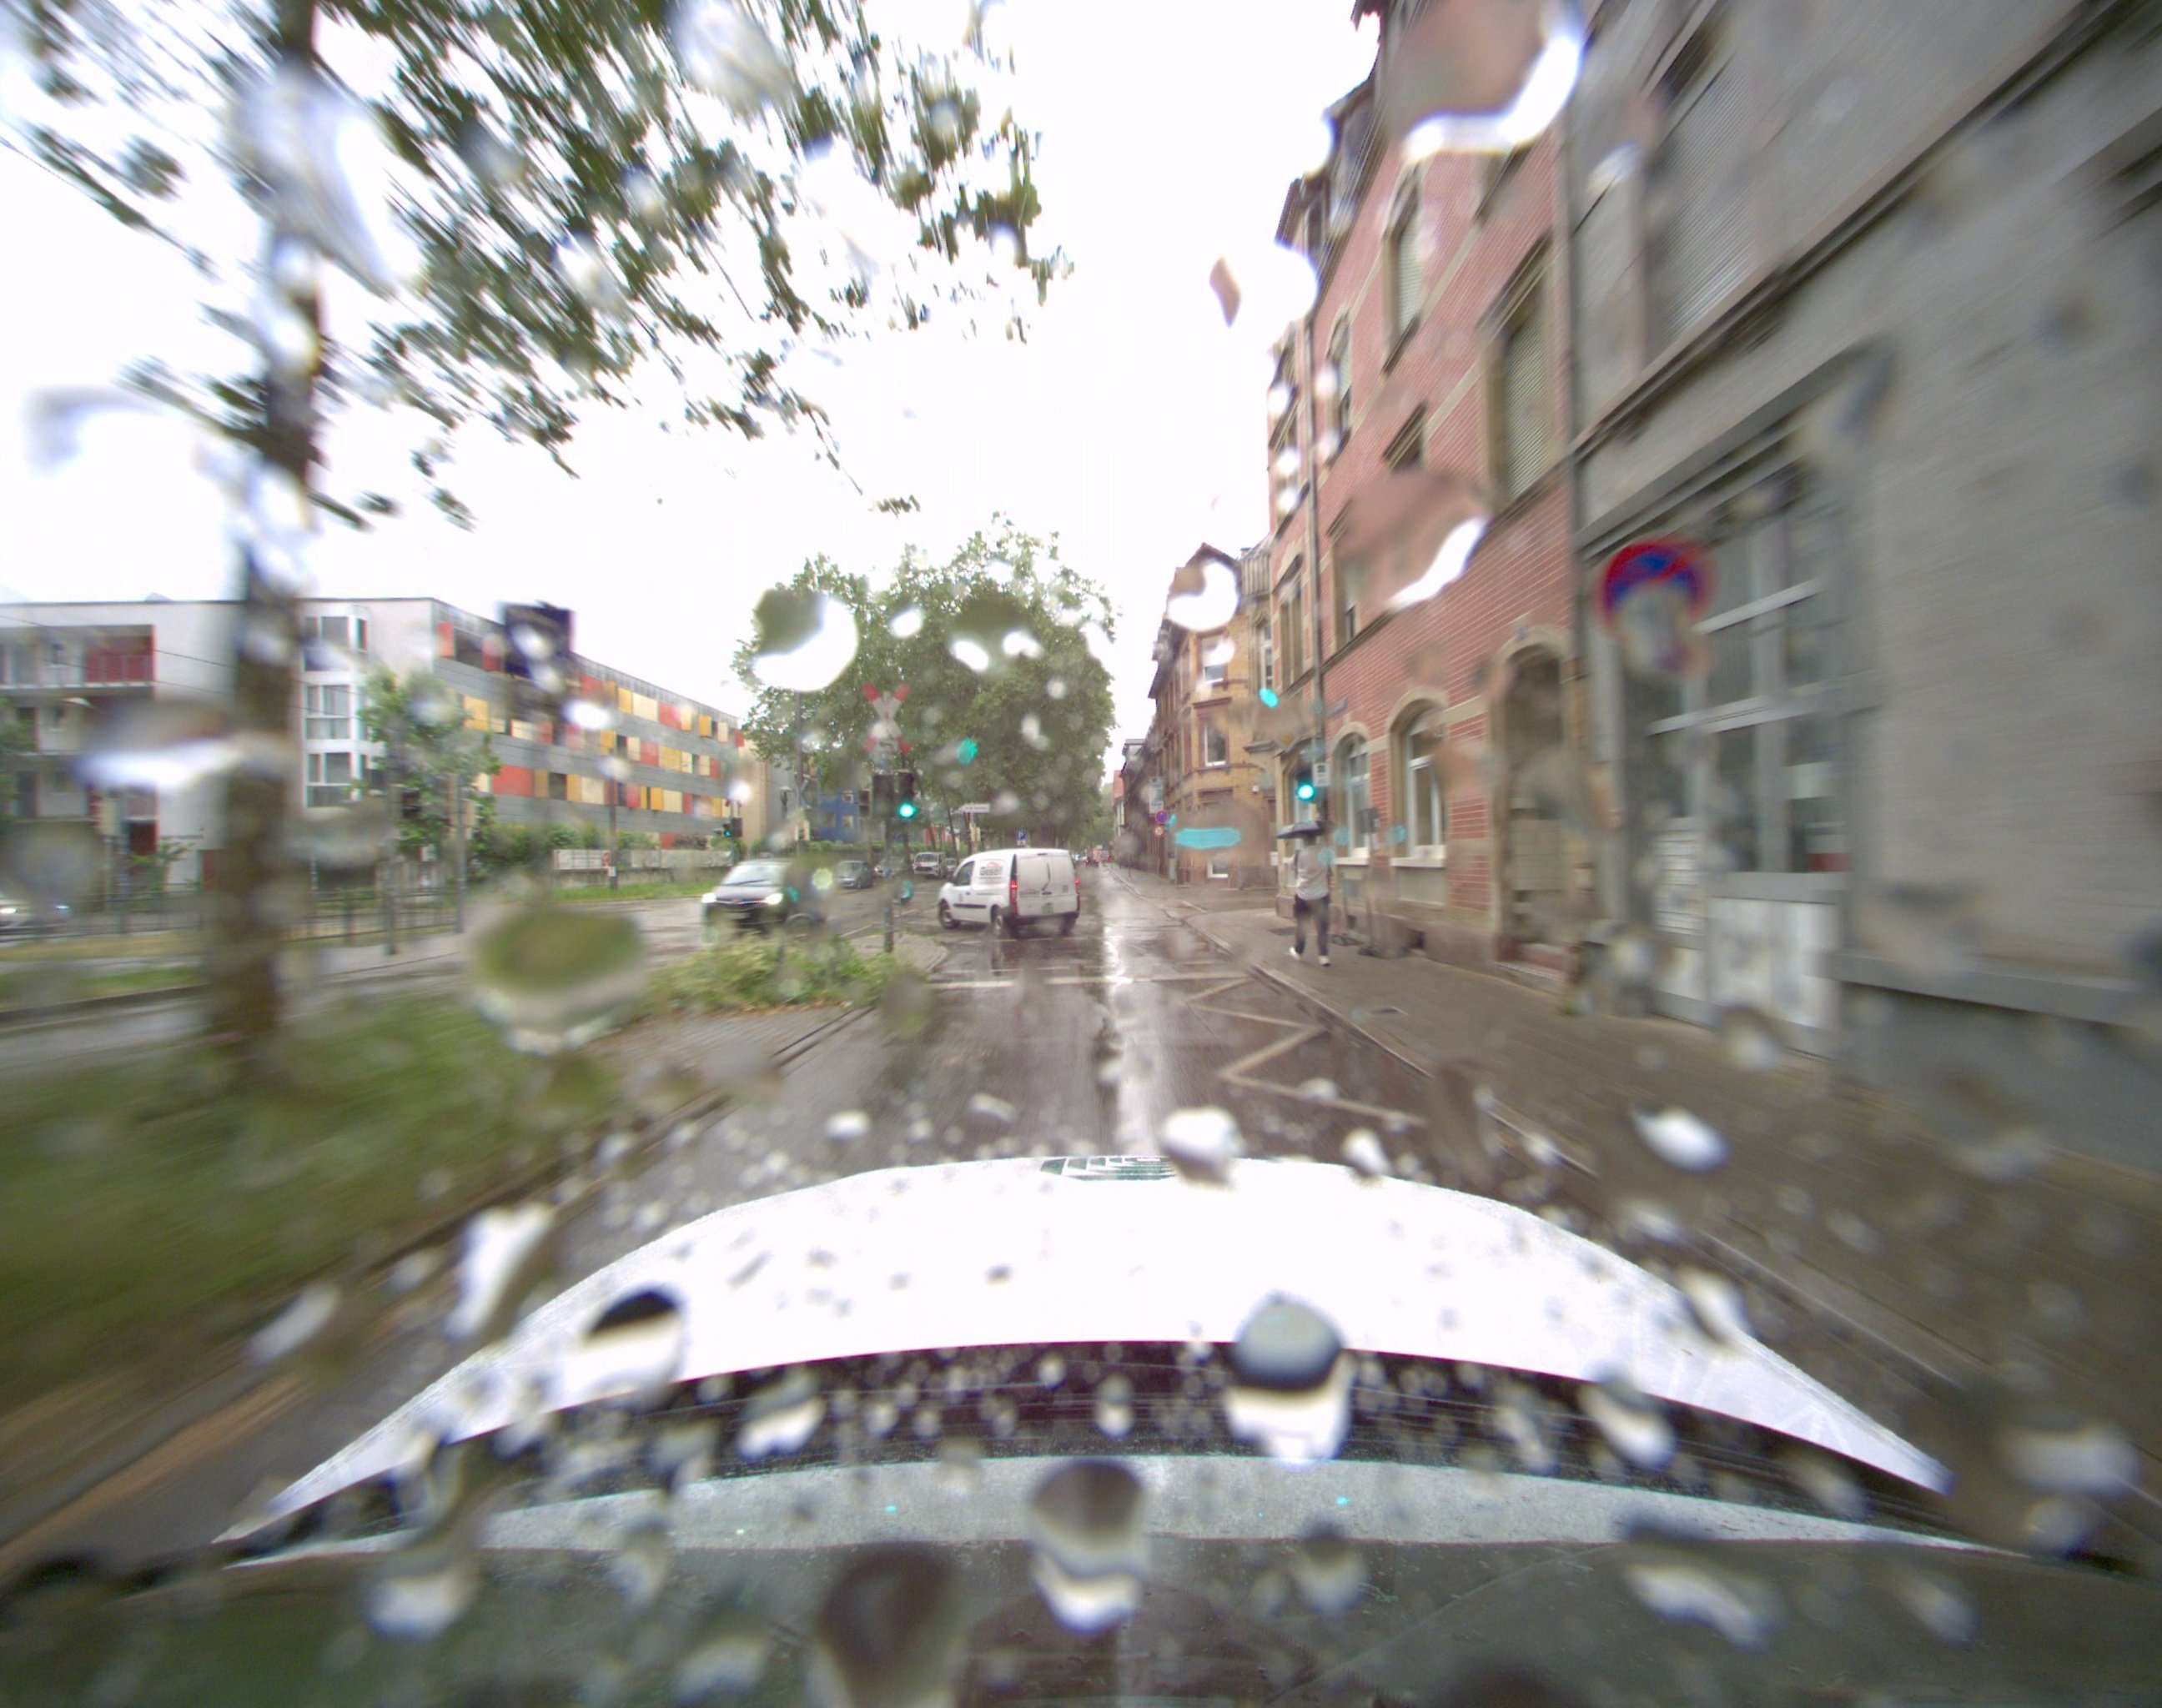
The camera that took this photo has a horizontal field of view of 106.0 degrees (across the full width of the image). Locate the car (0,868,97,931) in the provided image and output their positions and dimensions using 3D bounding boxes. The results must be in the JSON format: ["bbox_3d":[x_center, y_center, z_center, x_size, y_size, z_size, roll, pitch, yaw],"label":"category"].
[{"bbox_3d":[-28.585,1.171,20.952,4.067,1.528,1.886,-1,0,-3],"label":"car"}]

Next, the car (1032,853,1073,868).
[{"bbox_3d":[-3.070,0.717,87.686,4.013,1.537,1.847,0,0,31],"label":"car"}]

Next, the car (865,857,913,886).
[{"bbox_3d":[-11.574,1.040,49.352,1.867,1.728,4.001,0,-1,1],"label":"car"}]

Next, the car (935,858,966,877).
[{"bbox_3d":[-10.904,1.131,68.267,1.898,1.534,4.214,-1,0,-1],"label":"car"}]

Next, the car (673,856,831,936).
[{"bbox_3d":[-7.488,0.857,19.123,2.052,1.619,4.667,-1,0,-4],"label":"car"}]

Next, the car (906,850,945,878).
[{"bbox_3d":[-11.388,0.709,60.008,2.049,1.997,5.428,1,0,-3],"label":"car"}]

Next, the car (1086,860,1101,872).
[{"bbox_3d":[1.680,1.567,108.891,1.987,1.640,4.000,0,-1,0],"label":"car"}]

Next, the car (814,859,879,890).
[{"bbox_3d":[-11.864,0.984,41.579,1.897,1.463,4.390,-1,0,2],"label":"car"}]

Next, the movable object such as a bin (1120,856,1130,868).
[{"bbox_3d":[5.187,0.941,96.581,1.018,1.301,1.367,-4,0,0],"label":"movable object such as a bin"}]

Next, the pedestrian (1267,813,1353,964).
[{"bbox_3d":[3.100,0.454,11.119,0.782,1.913,0.929,-4,-1,0],"label":"pedestrian"}]

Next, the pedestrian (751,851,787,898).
[{"bbox_3d":[-12.284,0.815,32.098,0.932,1.800,1.206,-1,-1,0],"label":"pedestrian"}]

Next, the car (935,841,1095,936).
[{"bbox_3d":[-1.584,0.683,18.095,1.945,1.849,4.025,0,0,-32],"label":"car"}]
